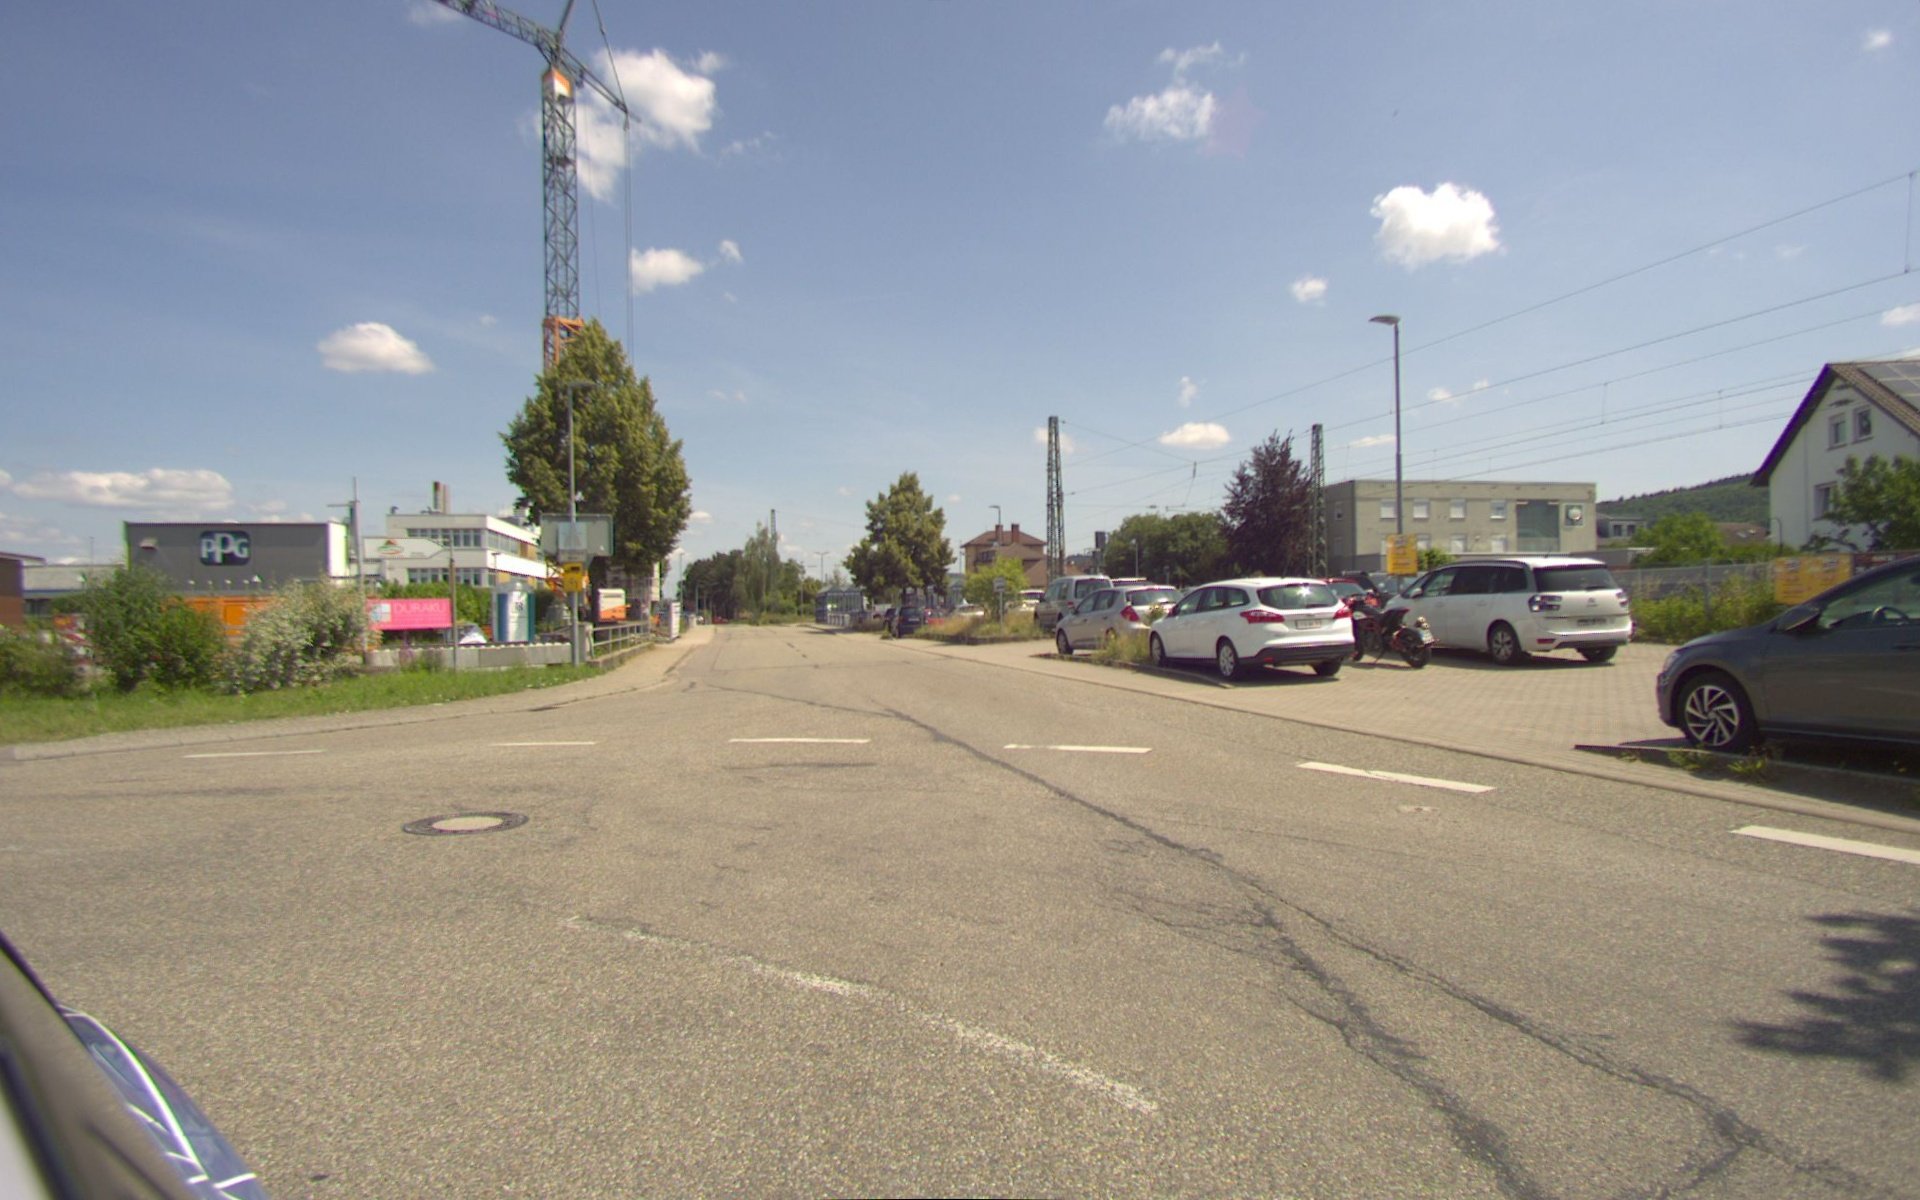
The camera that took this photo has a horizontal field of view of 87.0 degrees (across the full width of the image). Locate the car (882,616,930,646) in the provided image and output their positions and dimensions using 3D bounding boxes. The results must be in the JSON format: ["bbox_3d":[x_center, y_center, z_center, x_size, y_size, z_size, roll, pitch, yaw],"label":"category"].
[{"bbox_3d":[-2.664,1.451,48.976,1.582,1.360,4.010,-1,-1,-13],"label":"car"}]

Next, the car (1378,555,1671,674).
[{"bbox_3d":[9.065,0.224,16.773,1.968,1.670,4.270,-2,0,-9],"label":"car"}]

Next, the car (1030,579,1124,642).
[{"bbox_3d":[3.612,0.336,31.939,1.923,1.847,3.843,-1,-1,-9],"label":"car"}]

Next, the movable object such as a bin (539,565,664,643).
[{"bbox_3d":[-16.430,0.095,46.418,5.042,3.317,2.404,-1,4,-31],"label":"movable object such as a bin"}]

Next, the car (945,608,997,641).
[{"bbox_3d":[0.484,1.172,49.138,1.582,1.533,4.010,-1,-1,-13],"label":"car"}]

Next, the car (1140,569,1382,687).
[{"bbox_3d":[4.505,0.399,15.914,1.779,1.576,4.273,-1,-1,-12],"label":"car"}]

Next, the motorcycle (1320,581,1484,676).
[{"bbox_3d":[7.061,0.439,16.449,0.728,1.383,3.220,-1,-1,-10],"label":"motorcycle"}]

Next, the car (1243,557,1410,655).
[{"bbox_3d":[8.273,0.138,23.256,1.822,2.029,4.008,-1,-1,-9],"label":"car"}]

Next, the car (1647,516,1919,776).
[{"bbox_3d":[6.532,0.261,6.041,1.664,1.542,4.070,-1,-1,-8],"label":"car"}]

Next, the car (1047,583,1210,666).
[{"bbox_3d":[3.407,0.487,21.311,1.765,1.556,3.972,-1,-1,-17],"label":"car"}]

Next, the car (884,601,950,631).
[{"bbox_3d":[-2.417,0.876,57.057,3.379,1.604,1.655,-1,1,-20],"label":"car"}]

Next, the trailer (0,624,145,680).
[{"bbox_3d":[-32.597,1.837,36.002,5.306,1.792,1.828,-1,1,-28],"label":"trailer"}]

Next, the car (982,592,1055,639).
[{"bbox_3d":[2.181,0.584,38.970,1.704,1.698,4.010,0,-1,-13],"label":"car"}]

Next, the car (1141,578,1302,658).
[{"bbox_3d":[5.681,0.383,22.561,1.777,1.576,4.272,-1,-1,-11],"label":"car"}]
